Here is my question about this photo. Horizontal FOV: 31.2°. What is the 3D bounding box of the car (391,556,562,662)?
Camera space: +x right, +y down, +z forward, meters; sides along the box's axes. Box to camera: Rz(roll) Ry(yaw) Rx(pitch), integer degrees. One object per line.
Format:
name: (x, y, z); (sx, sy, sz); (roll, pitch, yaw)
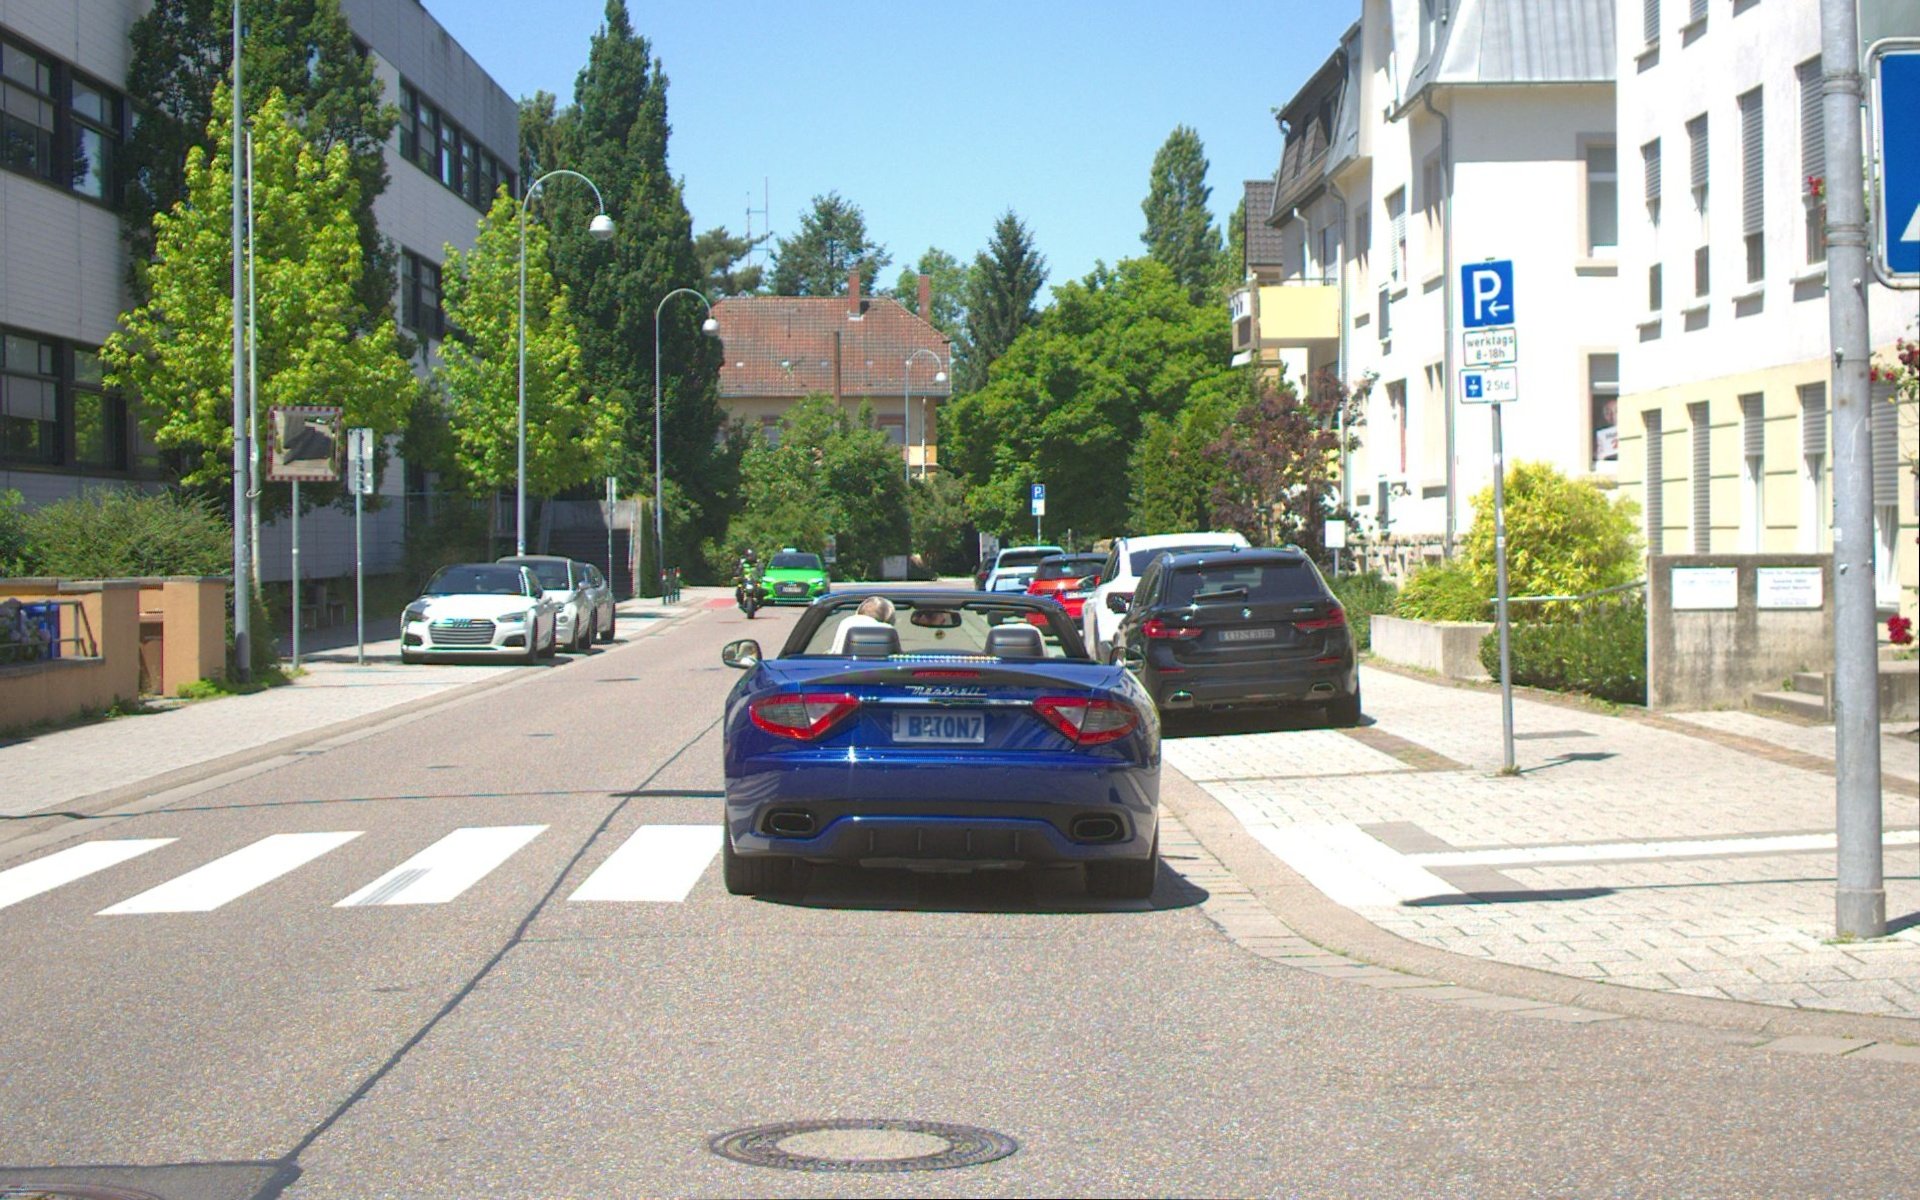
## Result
car: (-6.879, 0.092, 49.339); (1.822, 1.406, 4.577); (1, 1, -1)

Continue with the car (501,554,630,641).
car: (-6.876, -0.068, 60.292); (1.748, 1.404, 3.933); (-1, 1, 0)

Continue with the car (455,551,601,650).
car: (-6.816, -0.020, 54.641); (1.822, 1.507, 4.290); (0, 1, -1)

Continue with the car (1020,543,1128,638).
car: (1.862, -0.183, 56.896); (1.603, 1.436, 3.853); (-3, 1, 0)

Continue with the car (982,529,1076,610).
car: (1.450, -0.673, 73.754); (1.843, 1.614, 4.427); (-2, 1, 0)

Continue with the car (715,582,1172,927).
car: (-0.099, 0.615, 16.276); (1.826, 1.332, 4.700); (1, 1, -1)

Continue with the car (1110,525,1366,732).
car: (2.283, 0.180, 29.313); (1.705, 1.551, 4.748); (-2, 1, 0)

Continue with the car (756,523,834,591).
car: (-4.502, -1.172, 93.123); (1.822, 1.582, 4.102); (0, 4, -7)

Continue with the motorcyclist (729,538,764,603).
motorcyclist: (-4.775, -0.656, 76.793); (0.699, 1.428, 0.707); (-2, 1, 0)

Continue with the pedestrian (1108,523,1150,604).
pedestrian: (3.558, -0.764, 72.295); (0.740, 1.664, 0.706); (-3, 1, -2)

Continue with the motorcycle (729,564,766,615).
motorcycle: (-4.762, -0.241, 76.951); (0.699, 1.103, 1.790); (-2, 1, 0)

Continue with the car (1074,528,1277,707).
car: (2.141, 0.124, 35.247); (1.705, 1.660, 4.580); (-2, 1, 0)

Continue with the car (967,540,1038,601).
car: (1.061, -0.789, 88.274); (1.631, 1.441, 4.398); (-3, 1, -1)
